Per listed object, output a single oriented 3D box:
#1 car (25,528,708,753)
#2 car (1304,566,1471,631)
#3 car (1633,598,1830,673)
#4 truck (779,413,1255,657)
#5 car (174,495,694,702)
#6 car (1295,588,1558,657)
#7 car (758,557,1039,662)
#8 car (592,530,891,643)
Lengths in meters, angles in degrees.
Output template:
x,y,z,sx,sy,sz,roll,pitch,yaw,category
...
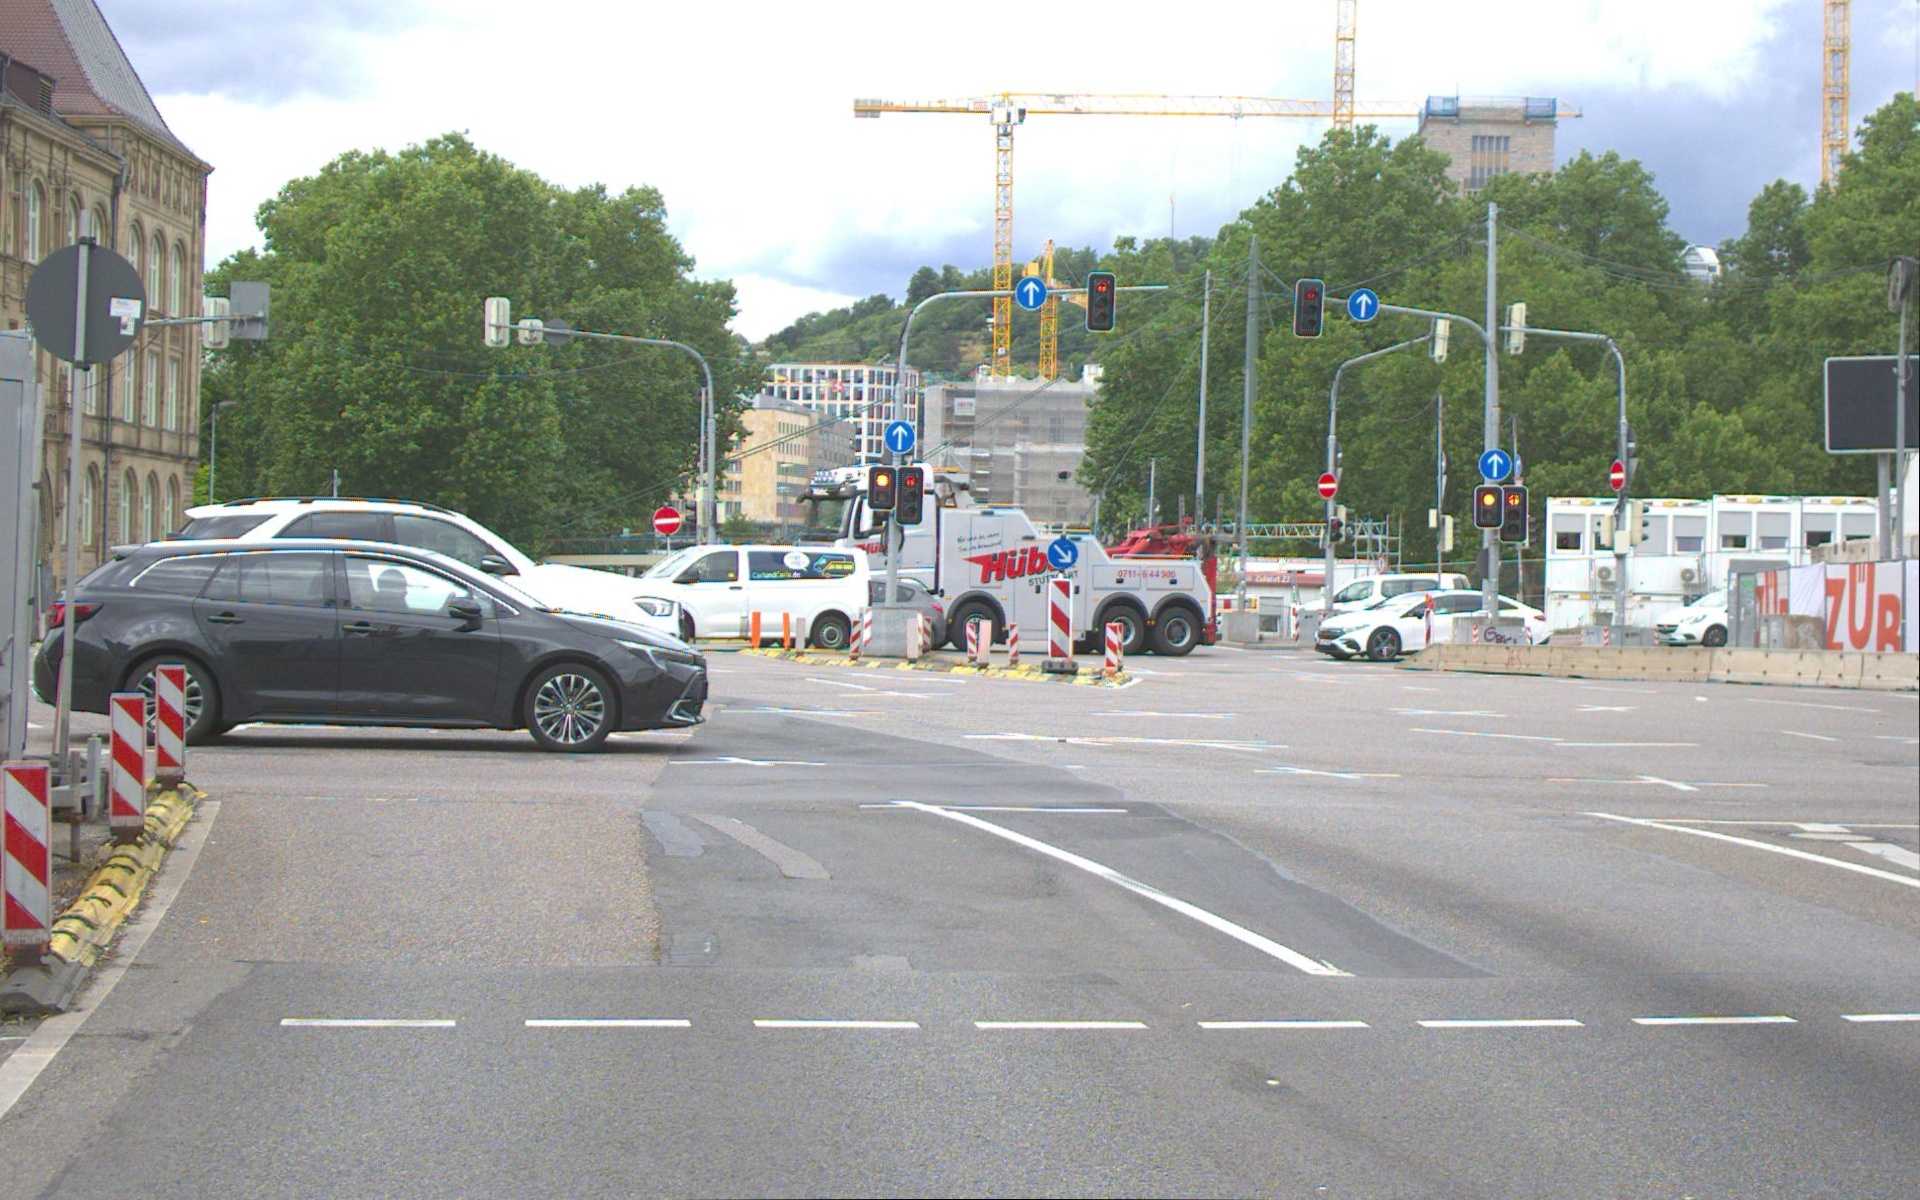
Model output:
x,y,z,sx,sy,sz,roll,pitch,yaw,category
-4.069,0.264,24.193,4.490,1.461,2.000,1,0,-2,car
11.331,-0.057,91.210,3.992,1.645,1.864,1,1,26,car
18.109,0.833,80.712,4.146,1.718,1.909,1,1,-23,car
1.267,-1.306,73.171,9.713,4.943,3.114,1,0,-26,truck
-4.698,-0.018,31.140,4.489,1.753,2.000,1,0,-6,car
9.974,0.479,73.507,5.132,1.415,2.238,1,1,-23,car
-1.219,0.196,68.202,5.129,2.007,2.078,1,1,-23,car
-4.067,-0.243,63.962,5.129,2.007,2.078,1,1,-23,car
